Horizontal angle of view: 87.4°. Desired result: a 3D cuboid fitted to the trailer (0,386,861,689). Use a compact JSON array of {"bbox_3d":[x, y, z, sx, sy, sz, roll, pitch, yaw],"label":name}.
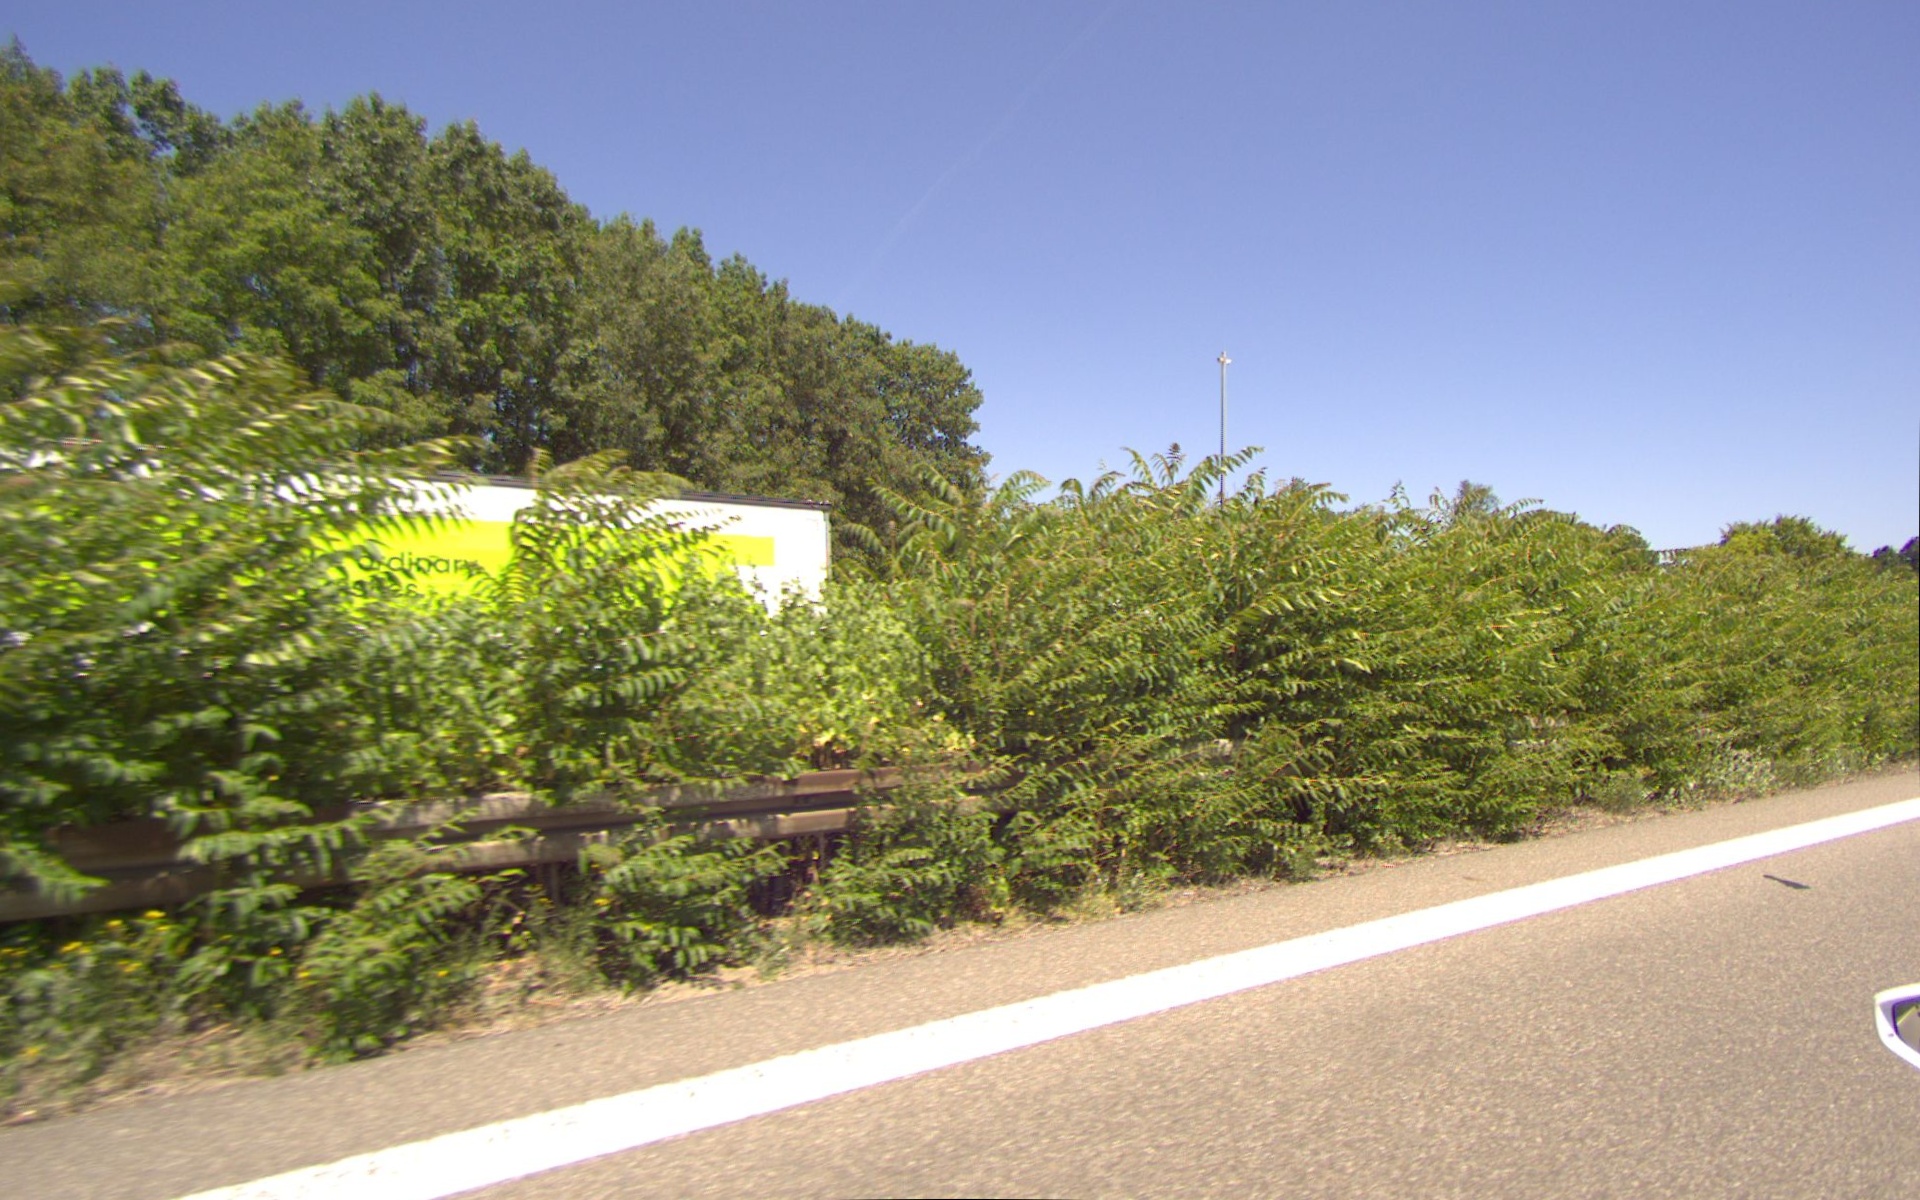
[{"bbox_3d":[-8.193,-0.631,15.835,13.286,3.617,2.947,2,-1,-33],"label":"trailer"}]
